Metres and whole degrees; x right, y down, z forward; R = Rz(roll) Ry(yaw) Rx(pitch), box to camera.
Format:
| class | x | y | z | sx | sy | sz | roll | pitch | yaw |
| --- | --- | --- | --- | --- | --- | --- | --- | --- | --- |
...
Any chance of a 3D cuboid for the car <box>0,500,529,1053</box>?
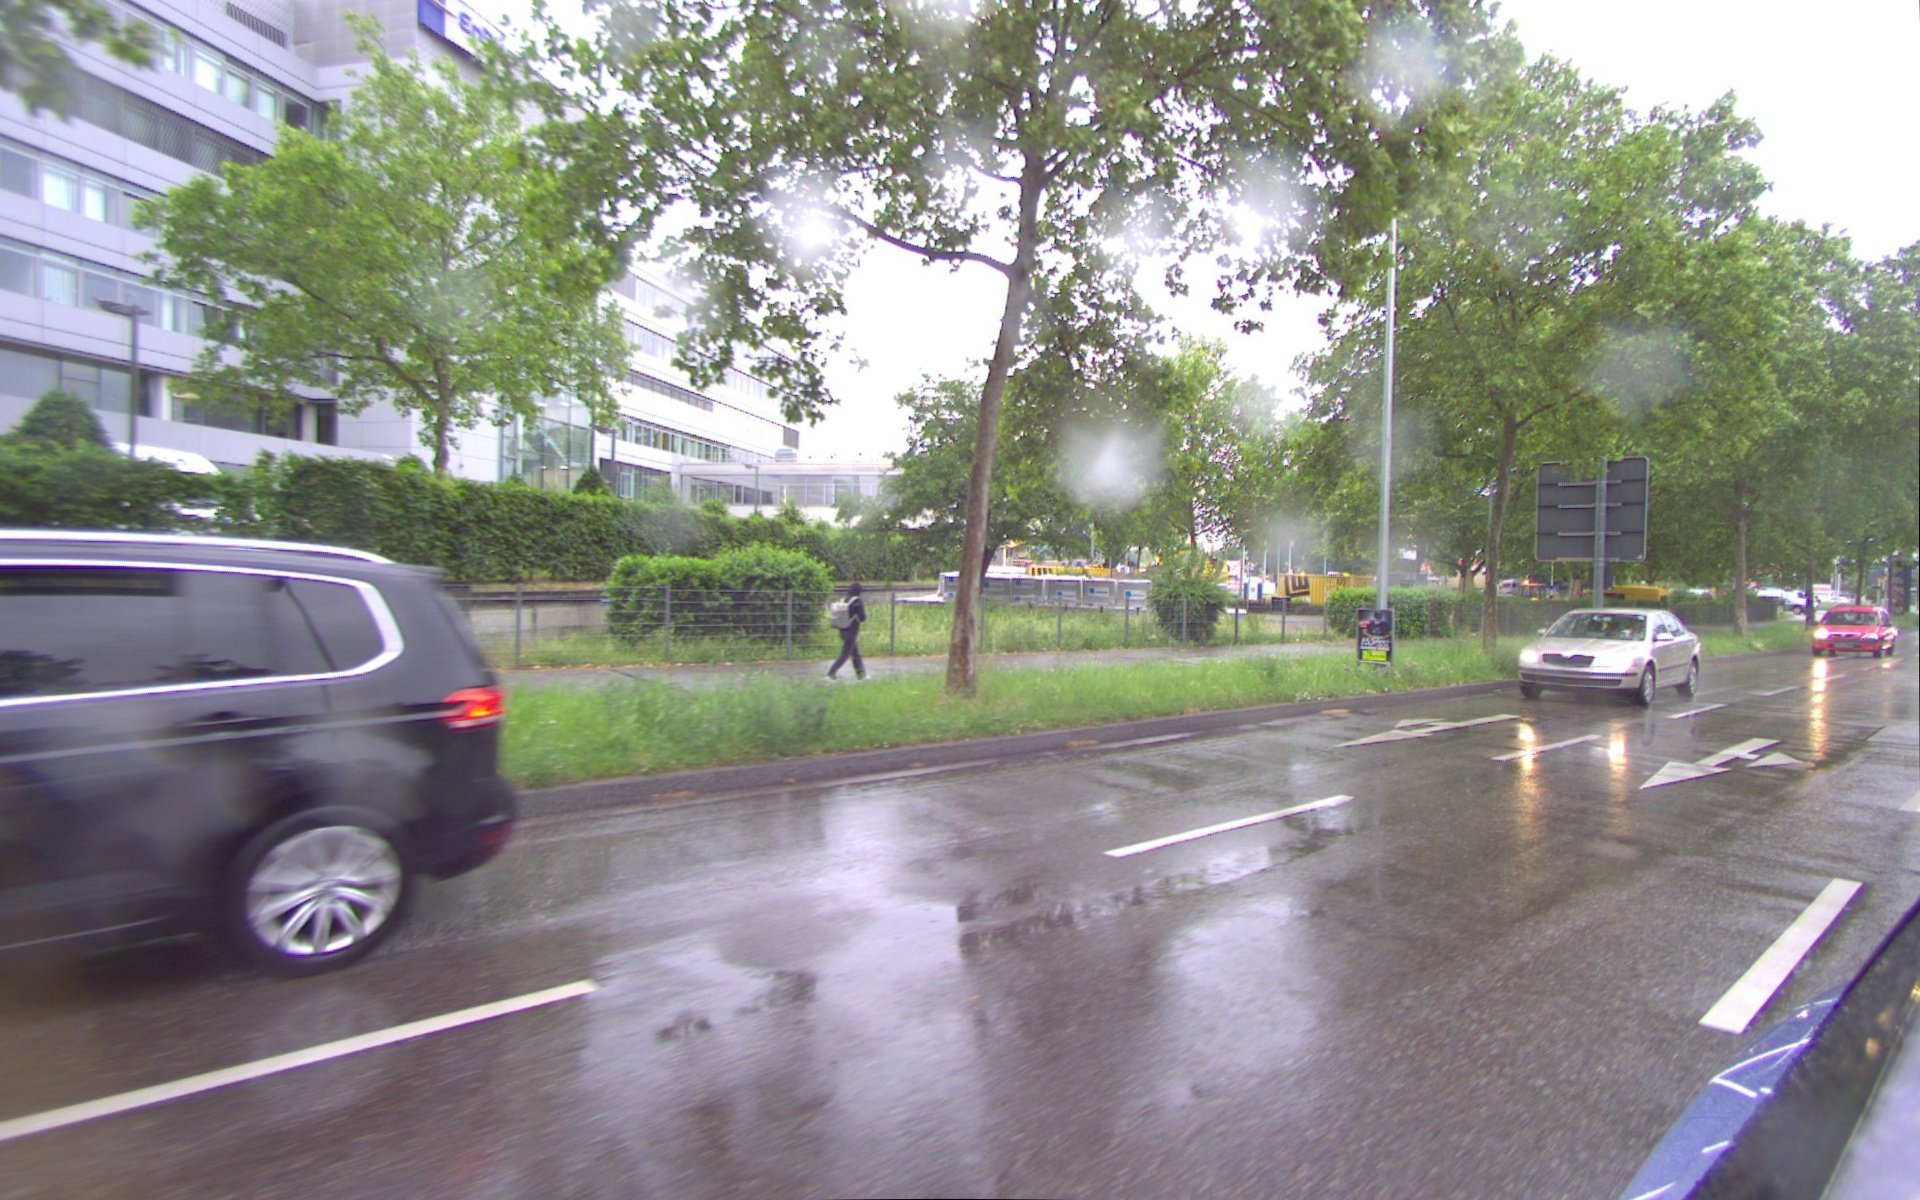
| class | x | y | z | sx | sy | sz | roll | pitch | yaw |
| --- | --- | --- | --- | --- | --- | --- | --- | --- | --- |
| car | -3.967 | 0.546 | 3.598 | 4.119 | 1.748 | 1.859 | 0 | 1 | -42 |

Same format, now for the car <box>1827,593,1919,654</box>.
| class | x | y | z | sx | sy | sz | roll | pitch | yaw |
| --- | --- | --- | --- | --- | --- | --- | --- | --- | --- |
| car | 29.472 | 0.713 | 32.573 | 4.478 | 1.791 | 1.699 | 0 | 2 | -41 |

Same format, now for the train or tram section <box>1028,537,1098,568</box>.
| class | x | y | z | sx | sy | sz | roll | pitch | yaw |
| --- | --- | --- | --- | --- | --- | --- | --- | --- | --- |
| train or tram section | 12.441 | -5.714 | 122.072 | 8.238 | 3.563 | 2.393 | 0 | 1 | 11 |

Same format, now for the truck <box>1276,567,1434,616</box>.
| class | x | y | z | sx | sy | sz | roll | pitch | yaw |
| --- | --- | --- | --- | --- | --- | --- | --- | --- | --- |
| truck | 25.812 | -0.586 | 66.649 | 9.359 | 3.069 | 3.070 | 0 | 1 | 14 |

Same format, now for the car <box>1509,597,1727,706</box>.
| class | x | y | z | sx | sy | sz | roll | pitch | yaw |
| --- | --- | --- | --- | --- | --- | --- | --- | --- | --- |
| car | 10.636 | 0.716 | 16.240 | 4.310 | 1.448 | 1.806 | 0 | 2 | -41 |

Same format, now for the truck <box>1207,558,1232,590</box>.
| class | x | y | z | sx | sy | sz | roll | pitch | yaw |
| --- | --- | --- | --- | --- | --- | --- | --- | --- | --- |
| truck | 28.061 | -2.857 | 109.694 | 2.459 | 3.386 | 9.435 | 0 | 2 | 13 |

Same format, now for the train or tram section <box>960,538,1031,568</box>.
| class | x | y | z | sx | sy | sz | roll | pitch | yaw |
| --- | --- | --- | --- | --- | --- | --- | --- | --- | --- |
| train or tram section | 4.325 | -5.729 | 123.685 | 8.395 | 3.563 | 2.393 | 0 | 1 | 11 |

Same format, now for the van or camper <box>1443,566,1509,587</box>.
| class | x | y | z | sx | sy | sz | roll | pitch | yaw |
| --- | --- | --- | --- | --- | --- | --- | --- | --- | --- |
| van or camper | 81.773 | -3.711 | 160.546 | 8.846 | 3.196 | 2.976 | 0 | 1 | 14 |

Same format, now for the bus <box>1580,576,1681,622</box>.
| class | x | y | z | sx | sy | sz | roll | pitch | yaw |
| --- | --- | --- | --- | --- | --- | --- | --- | --- | --- |
| bus | 41.219 | -0.082 | 62.293 | 1.964 | 2.680 | 4.803 | 0 | 1 | -40 |

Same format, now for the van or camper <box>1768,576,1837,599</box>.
| class | x | y | z | sx | sy | sz | roll | pitch | yaw |
| --- | --- | --- | --- | --- | --- | --- | --- | --- | --- |
| van or camper | 84.179 | -1.288 | 101.163 | 4.830 | 2.114 | 1.863 | 2 | 2 | 11 |

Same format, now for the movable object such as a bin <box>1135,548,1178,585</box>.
| class | x | y | z | sx | sy | sz | roll | pitch | yaw |
| --- | --- | --- | --- | --- | --- | --- | --- | --- | --- |
| movable object such as a bin | 19.882 | -3.389 | 102.392 | 3.253 | 3.670 | 3.618 | 1 | 2 | -6 |

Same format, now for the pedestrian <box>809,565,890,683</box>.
| class | x | y | z | sx | sy | sz | roll | pitch | yaw |
| --- | --- | --- | --- | --- | --- | --- | --- | --- | --- |
| pedestrian | -1.731 | 0.356 | 15.902 | 0.664 | 1.784 | 1.059 | 1 | 1 | 43 |
